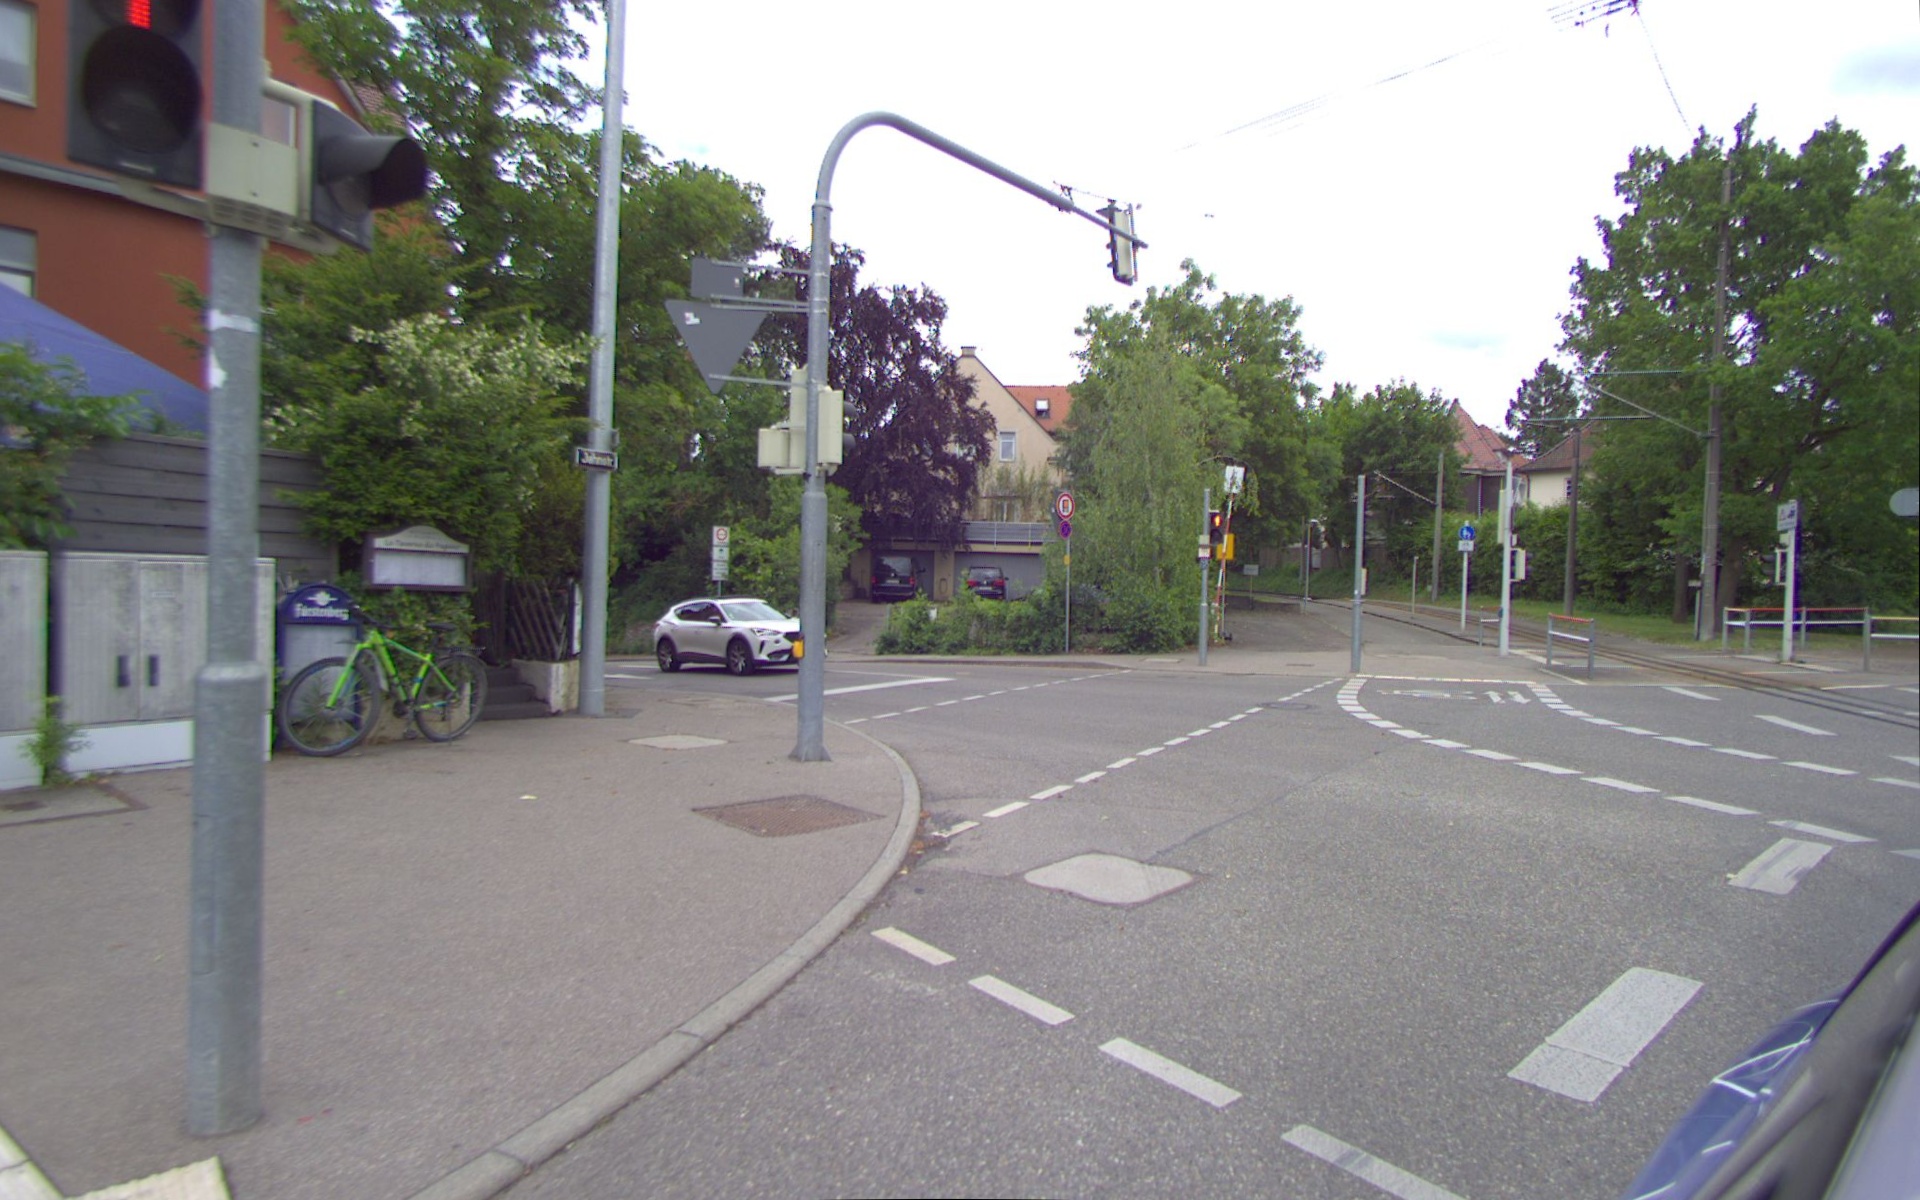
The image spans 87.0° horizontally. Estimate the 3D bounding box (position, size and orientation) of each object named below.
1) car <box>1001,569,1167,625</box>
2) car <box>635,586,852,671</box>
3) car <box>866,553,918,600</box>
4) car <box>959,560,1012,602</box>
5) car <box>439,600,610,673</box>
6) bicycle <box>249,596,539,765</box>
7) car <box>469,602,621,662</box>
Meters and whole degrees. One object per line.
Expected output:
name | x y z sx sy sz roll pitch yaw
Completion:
car | 3.490 -0.143 29.087 1.968 1.481 4.507 -1 1 -44
car | -4.440 0.485 20.405 4.499 1.481 1.971 1 1 40
car | -2.771 -0.975 41.943 1.961 1.816 4.002 1 1 -1
car | 1.106 -0.788 41.848 1.965 1.616 3.995 1 1 5
car | -10.001 0.790 23.080 4.502 1.482 1.969 -1 0 43
bicycle | -4.329 0.599 7.891 0.547 1.153 1.852 2 -2 37
car | -11.315 0.846 27.468 4.497 1.482 1.971 -1 0 40
